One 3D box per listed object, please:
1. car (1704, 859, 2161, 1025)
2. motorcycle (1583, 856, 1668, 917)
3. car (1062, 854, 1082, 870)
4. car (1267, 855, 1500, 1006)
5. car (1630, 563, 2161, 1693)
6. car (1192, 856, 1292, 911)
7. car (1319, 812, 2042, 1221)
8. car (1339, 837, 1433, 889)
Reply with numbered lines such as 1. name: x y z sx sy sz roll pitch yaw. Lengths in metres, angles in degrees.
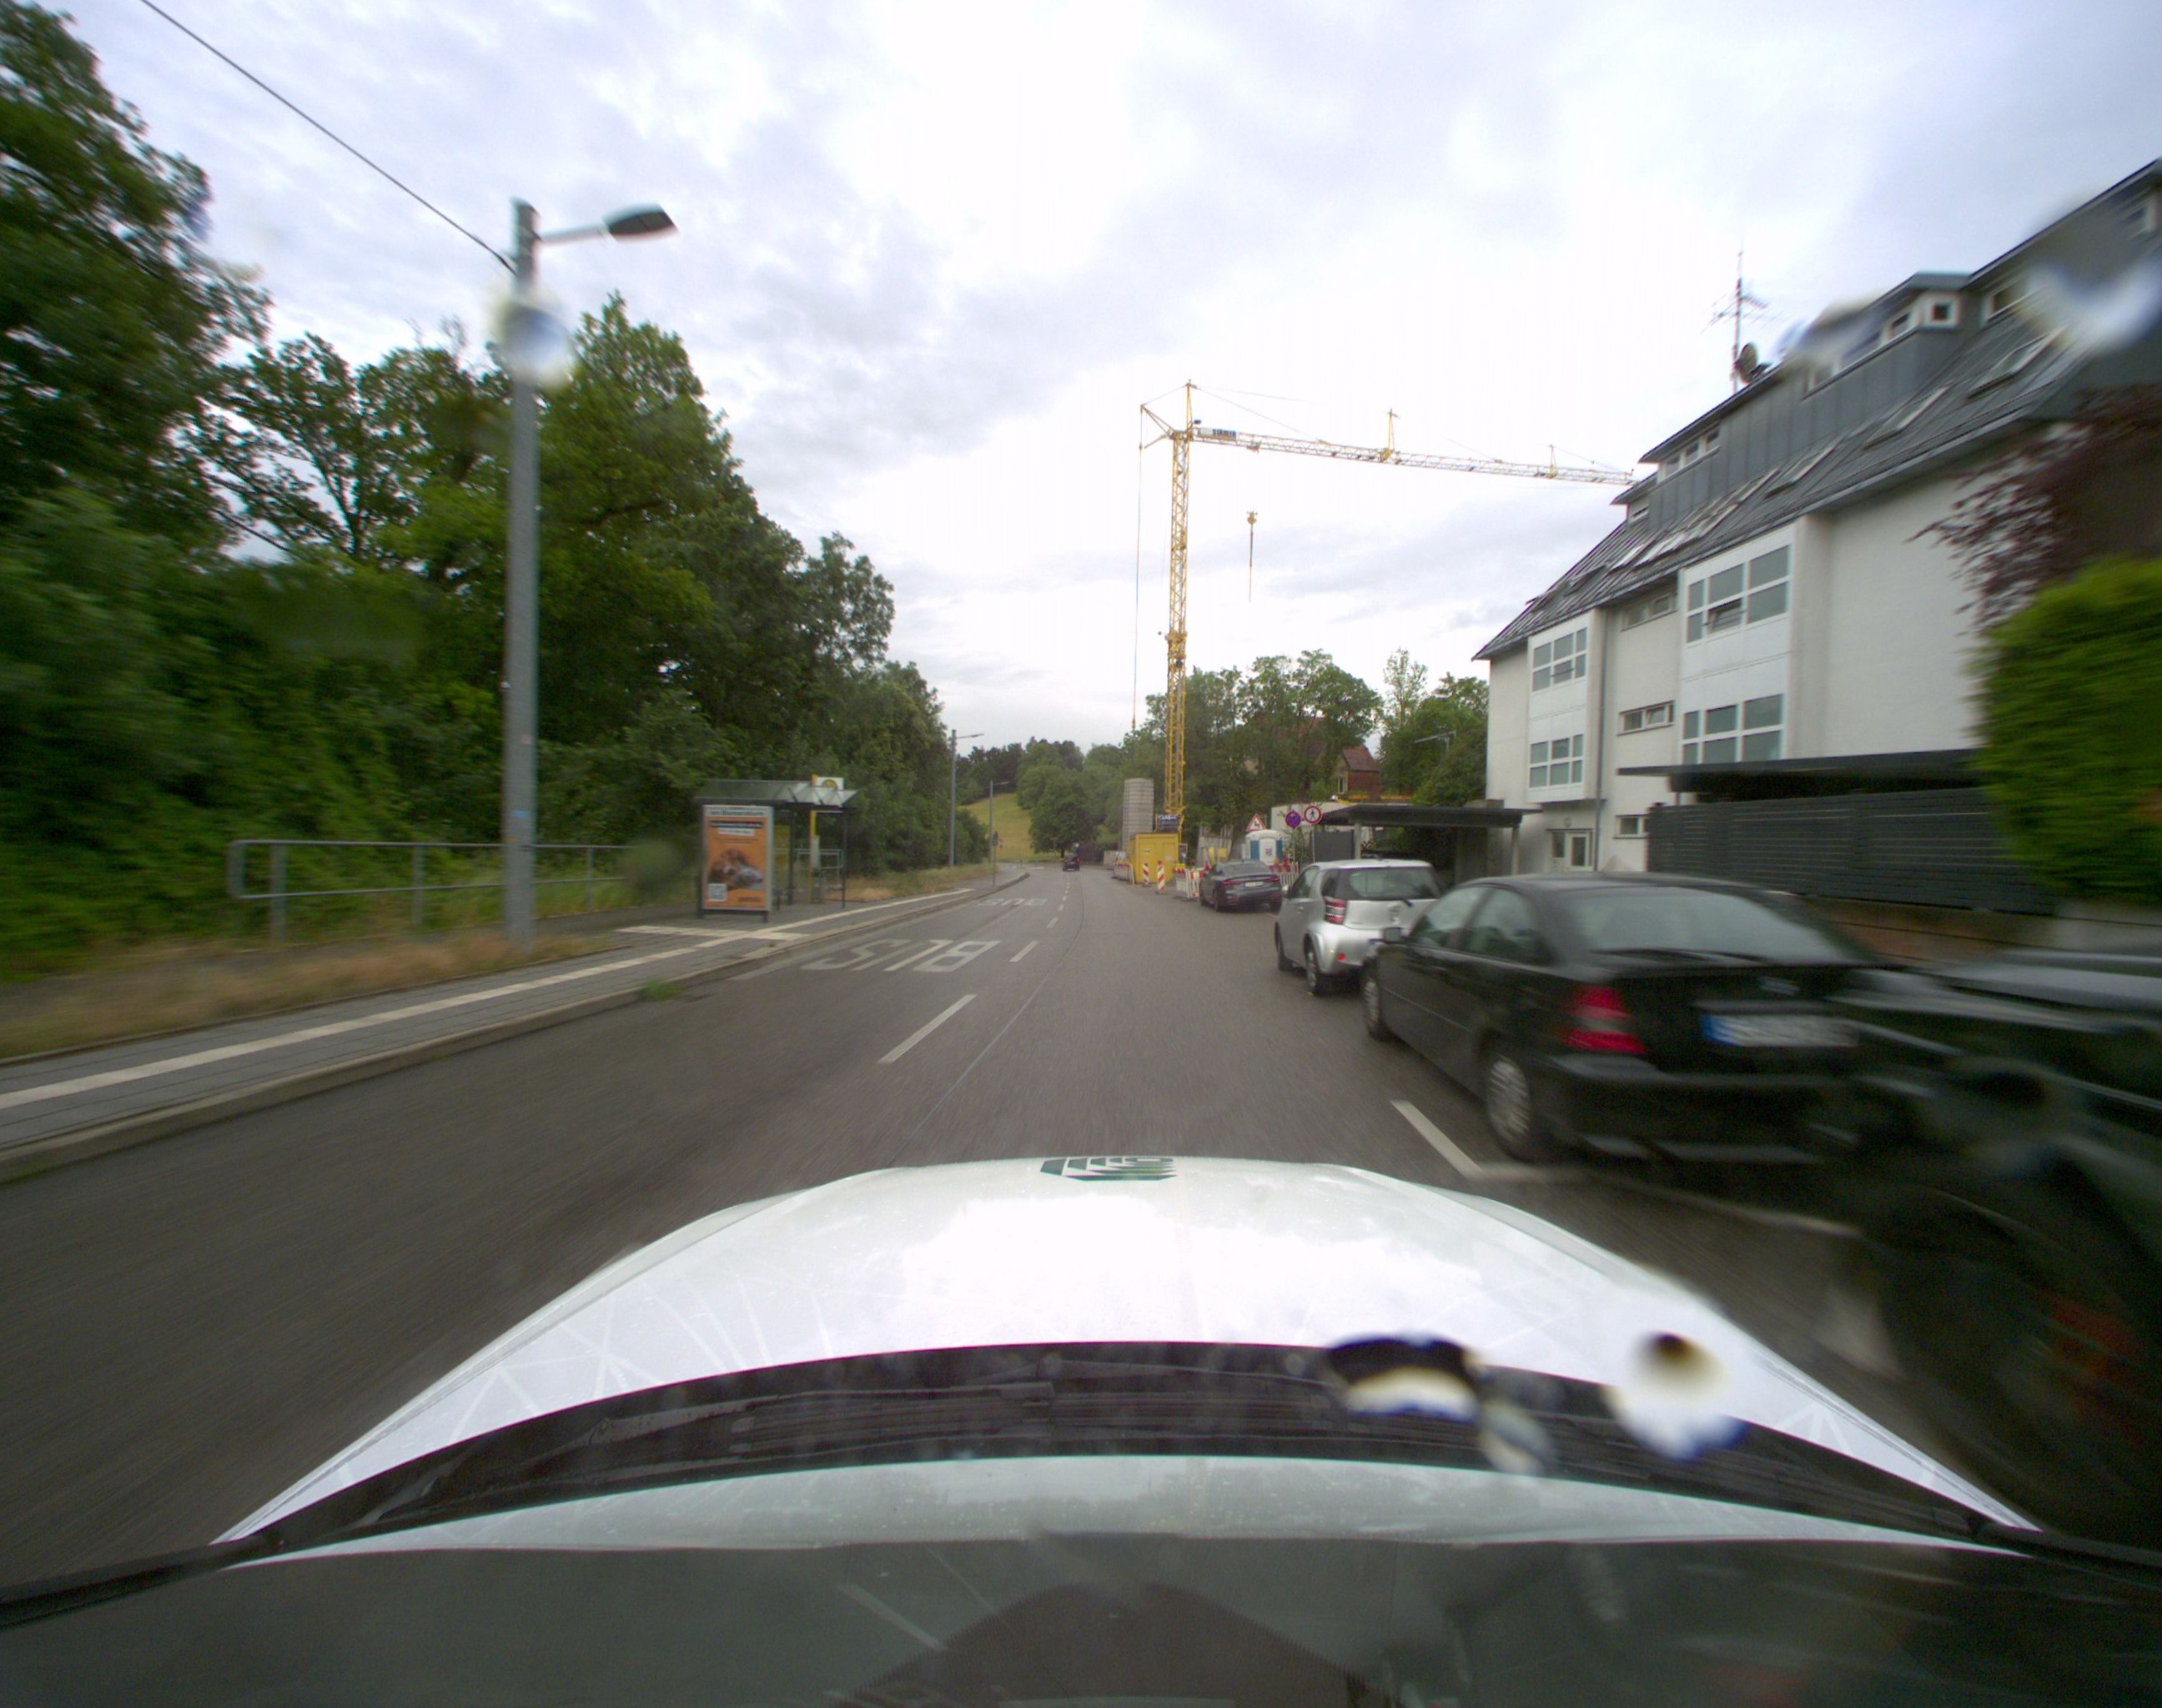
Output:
1. car: 9.352 0.796 9.126 1.728 1.396 4.001 2 0 1
2. motorcycle: 13.620 0.770 20.442 0.793 1.451 2.044 0 0 0
3. car: -1.085 0.935 92.279 1.929 1.751 3.992 0 0 -5
4. car: 3.334 0.759 9.645 1.666 1.457 3.389 -1 0 3
5. car: 2.845 0.467 0.389 1.985 2.014 4.960 -2 0 3
6. car: 4.593 0.784 23.997 1.926 1.422 4.835 0 0 -1
7. car: 3.005 0.682 5.465 1.922 1.596 4.402 -2 -1 6
8. car: 9.781 0.272 26.430 1.688 1.472 4.003 3 0 3
